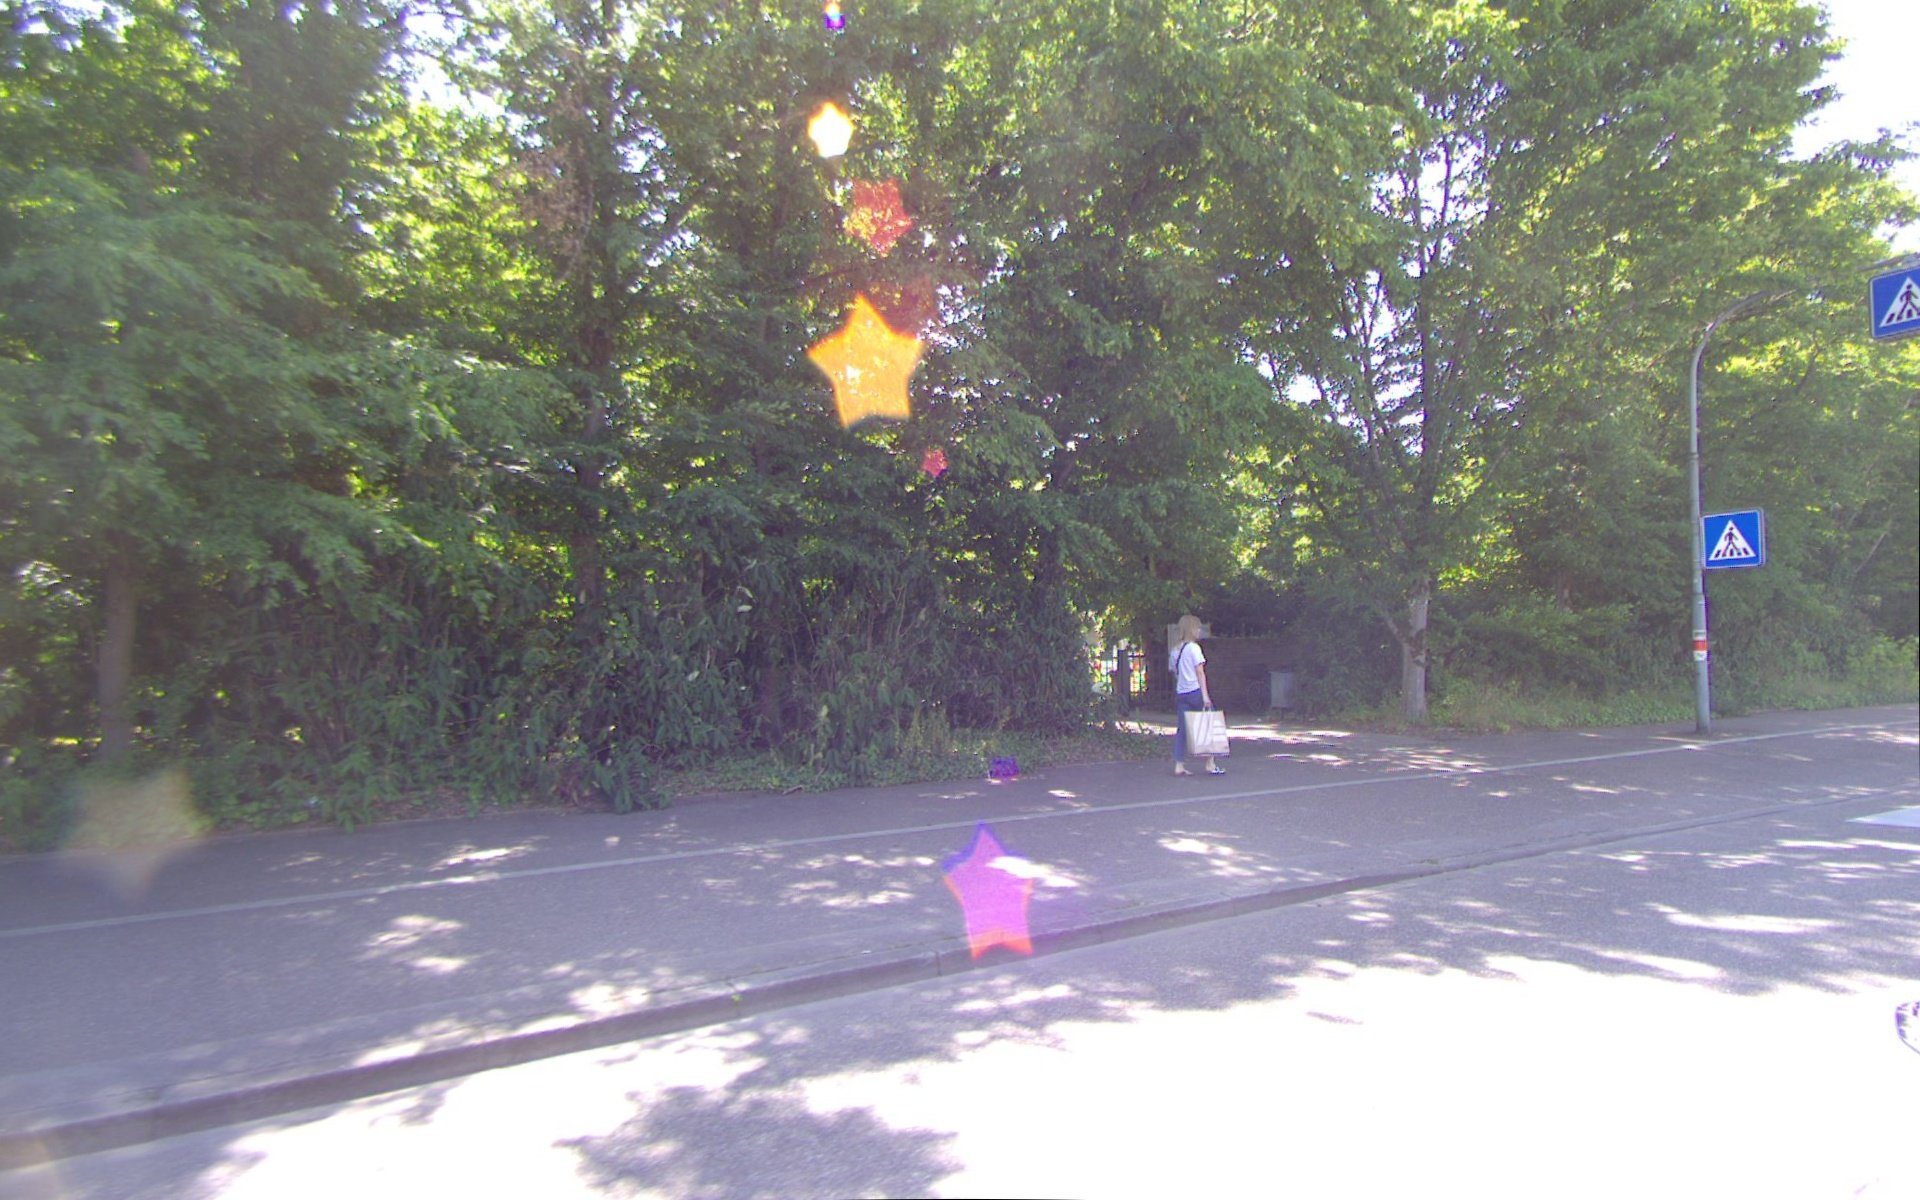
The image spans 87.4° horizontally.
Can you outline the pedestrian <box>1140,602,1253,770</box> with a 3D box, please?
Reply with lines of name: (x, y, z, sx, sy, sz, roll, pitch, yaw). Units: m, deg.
pedestrian: (2.438, 0.844, 10.388, 0.774, 1.644, 0.823, 1, 0, -33)
